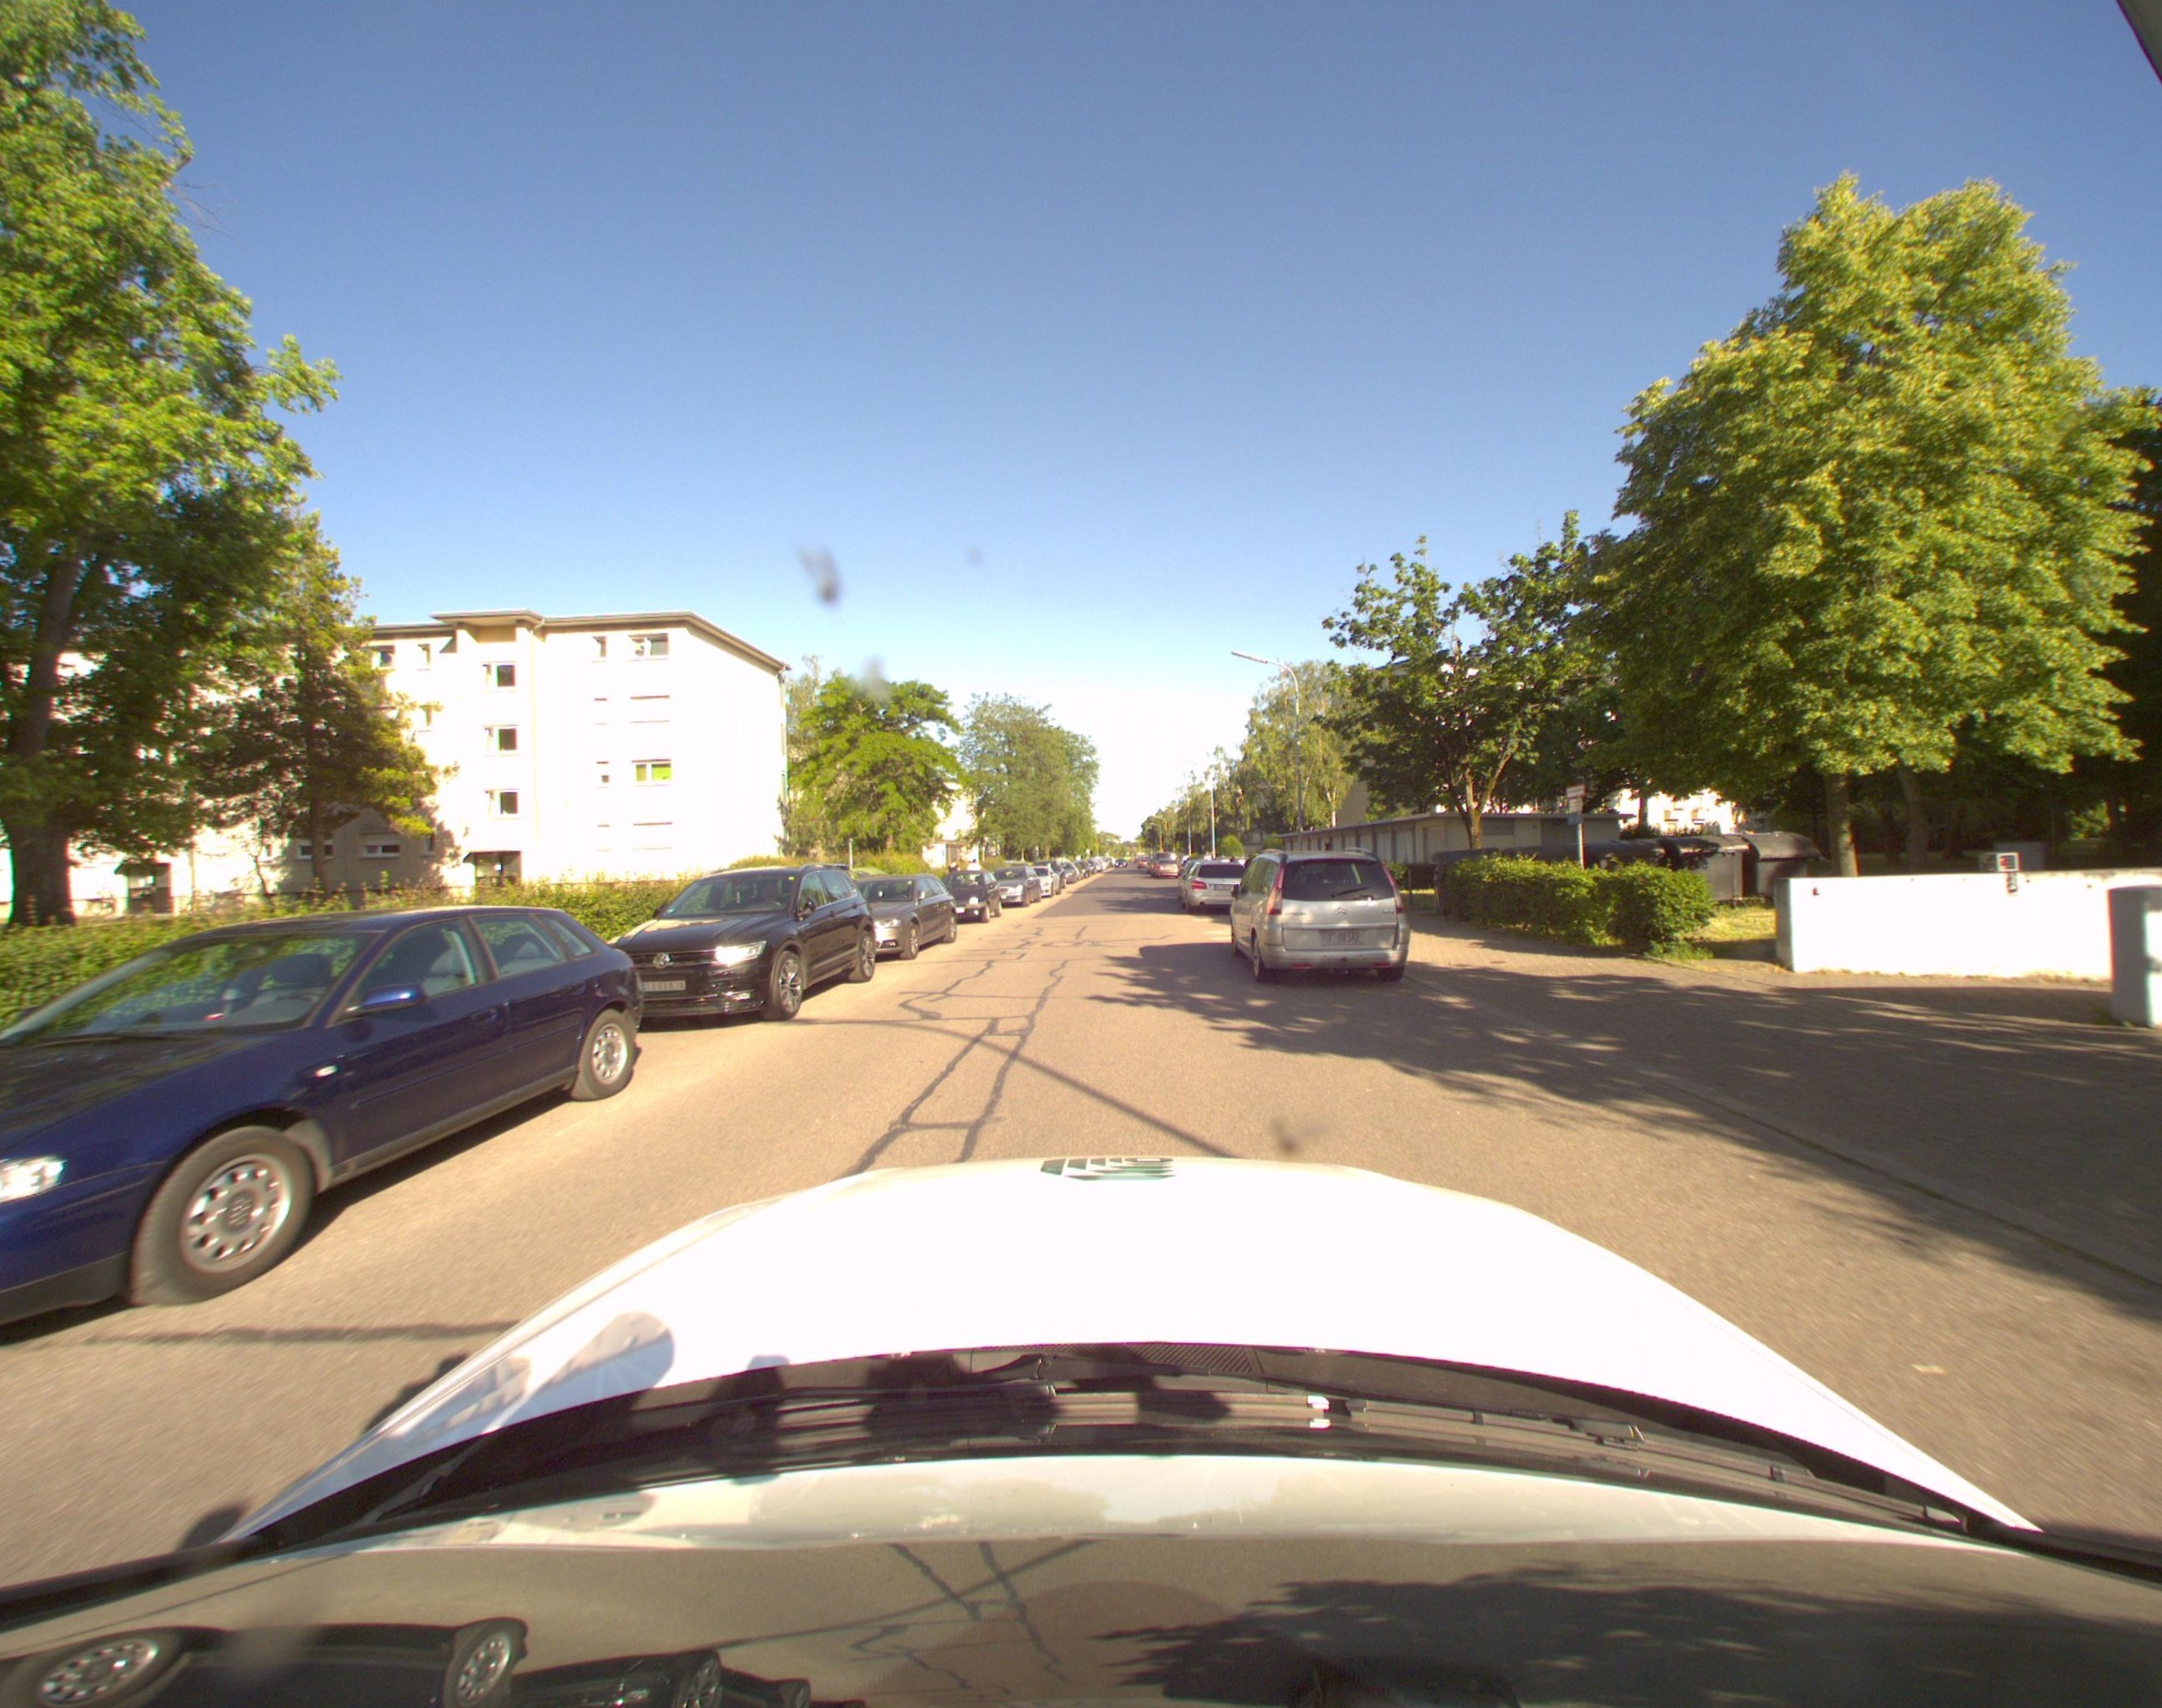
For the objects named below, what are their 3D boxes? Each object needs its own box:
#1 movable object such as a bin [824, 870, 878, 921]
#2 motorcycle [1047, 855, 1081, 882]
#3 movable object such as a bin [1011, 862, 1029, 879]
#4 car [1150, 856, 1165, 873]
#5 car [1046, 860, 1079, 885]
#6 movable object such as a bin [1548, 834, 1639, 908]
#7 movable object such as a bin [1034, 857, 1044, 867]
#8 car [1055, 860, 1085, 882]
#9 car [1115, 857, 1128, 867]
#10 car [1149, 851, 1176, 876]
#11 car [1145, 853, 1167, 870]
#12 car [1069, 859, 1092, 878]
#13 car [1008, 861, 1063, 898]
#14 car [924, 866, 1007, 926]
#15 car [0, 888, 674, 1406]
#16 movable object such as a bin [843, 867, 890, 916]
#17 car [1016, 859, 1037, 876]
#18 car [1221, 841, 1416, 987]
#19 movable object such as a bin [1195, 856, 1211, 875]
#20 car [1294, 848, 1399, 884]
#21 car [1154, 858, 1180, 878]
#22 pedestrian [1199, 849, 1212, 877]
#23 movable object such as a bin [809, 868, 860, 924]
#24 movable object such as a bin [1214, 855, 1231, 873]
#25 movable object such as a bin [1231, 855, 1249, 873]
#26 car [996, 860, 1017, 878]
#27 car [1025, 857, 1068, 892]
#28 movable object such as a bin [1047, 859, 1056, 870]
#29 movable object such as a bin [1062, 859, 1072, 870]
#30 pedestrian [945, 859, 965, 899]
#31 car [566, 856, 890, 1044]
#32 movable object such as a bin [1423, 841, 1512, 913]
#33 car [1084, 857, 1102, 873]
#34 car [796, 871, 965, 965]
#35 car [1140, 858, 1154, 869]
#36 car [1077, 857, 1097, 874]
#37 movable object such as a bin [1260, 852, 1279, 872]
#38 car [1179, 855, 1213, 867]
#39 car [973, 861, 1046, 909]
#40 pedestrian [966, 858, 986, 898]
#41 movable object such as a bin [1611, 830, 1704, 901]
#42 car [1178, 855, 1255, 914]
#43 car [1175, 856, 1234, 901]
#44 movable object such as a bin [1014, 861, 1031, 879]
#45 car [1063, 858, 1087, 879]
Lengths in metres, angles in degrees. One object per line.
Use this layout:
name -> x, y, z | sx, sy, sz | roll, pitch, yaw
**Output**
movable object such as a bin -> -6.506, 1.155, 23.107 | 1.115, 1.366, 1.257 | 1, -1, 1
motorcycle -> -1.173, 0.997, 57.010 | 2.248, 1.727, 0.932 | -4, -1, 0
movable object such as a bin -> -4.786, 1.279, 64.024 | 1.172, 1.288, 1.344 | -1, 0, 4
car -> 7.990, 1.049, 85.004 | 1.482, 1.718, 2.585 | 0, 0, 3
car -> -1.152, 1.190, 53.532 | 1.747, 1.421, 4.273 | -4, -1, 3
movable object such as a bin -> 11.167, 0.364, 17.785 | 1.321, 1.537, 1.028 | -1, 0, -3
movable object such as a bin -> -5.718, 1.078, 111.045 | 1.172, 1.421, 1.464 | 1, 0, 5
car -> -0.805, 1.221, 60.673 | 1.746, 1.481, 3.964 | -4, -1, 5
car -> 6.526, 1.300, 131.351 | 1.902, 1.476, 4.574 | -2, 0, 3
car -> 6.490, 0.743, 65.180 | 1.845, 1.934, 4.708 | 0, 0, 3
car -> 7.117, 0.671, 77.580 | 1.726, 1.490, 4.502 | -3, 0, 1
car -> -0.007, 1.271, 71.844 | 1.747, 1.481, 4.540 | -4, -1, 2
car -> -1.954, 1.111, 36.380 | 1.746, 1.425, 4.216 | -4, -1, 5
car -> -3.187, 1.122, 23.154 | 1.642, 1.464, 3.498 | -3, 0, 2
car -> -4.050, 0.993, 4.316 | 1.633, 1.385, 4.170 | -3, 0, 0
movable object such as a bin -> -6.430, 1.109, 24.445 | 0.998, 1.415, 1.327 | 1, -1, 1
car -> -5.137, 1.279, 76.570 | 1.564, 1.525, 4.001 | -1, 0, 1
car -> 3.074, 0.694, 11.497 | 1.746, 1.627, 4.500 | -1, 0, 4
movable object such as a bin -> 9.490, 0.884, 63.232 | 1.019, 1.310, 1.392 | -5, -1, 13
car -> 11.975, 0.547, 36.970 | 4.168, 1.494, 1.818 | -1, 0, 0
car -> 6.244, 0.991, 59.338 | 1.792, 1.419, 4.642 | -1, 0, 5
pedestrian -> 8.663, 0.607, 56.482 | 0.700, 1.888, 0.873 | -4, -1, 4
movable object such as a bin -> -6.578, 1.103, 21.763 | 0.891, 1.415, 1.327 | 1, -1, 2
movable object such as a bin -> 10.799, 0.746, 62.262 | 1.217, 1.365, 1.135 | -2, -1, 6
movable object such as a bin -> 12.064, 0.756, 61.851 | 1.269, 1.365, 1.135 | -2, -1, 6
car -> -7.033, 1.440, 77.275 | 1.564, 1.641, 4.001 | -1, 0, 1
car -> -1.753, 1.042, 42.946 | 1.747, 1.635, 4.374 | -4, -1, 3
movable object such as a bin -> -4.148, 1.486, 114.595 | 1.129, 1.421, 1.362 | 1, 0, 5
movable object such as a bin -> -1.733, 1.352, 102.825 | 1.131, 1.382, 1.443 | 1, 0, 5
pedestrian -> -5.468, 1.080, 35.412 | 0.717, 1.679, 0.600 | -1, -1, 3
car -> -3.828, 0.909, 9.822 | 1.747, 1.668, 4.393 | -3, 0, 2
movable object such as a bin -> 8.353, 0.490, 17.657 | 1.321, 1.428, 1.069 | -4, 0, -3
car -> 1.426, 1.263, 94.424 | 1.895, 1.640, 4.352 | -3, 0, 3
car -> -3.514, 1.063, 15.235 | 1.747, 1.385, 4.677 | -3, -1, 2
car -> 9.146, 1.263, 113.164 | 1.674, 1.513, 4.105 | 0, 0, 1
car -> 0.653, 1.174, 83.948 | 1.746, 1.606, 3.973 | -4, -1, 4
movable object such as a bin -> 14.493, 0.600, 62.500 | 1.269, 1.465, 1.135 | -2, 3, 6
car -> 15.501, 0.946, 110.018 | 4.396, 1.513, 1.830 | -3, 0, 3
car -> -2.555, 1.096, 30.362 | 1.746, 1.490, 4.907 | -4, -1, 5
pedestrian -> -4.508, 1.036, 34.948 | 0.717, 1.679, 0.617 | -1, -1, 3
movable object such as a bin -> 12.689, 0.247, 17.965 | 1.319, 1.481, 1.028 | -1, 0, -3
car -> 3.876, 0.819, 23.945 | 1.822, 1.546, 4.646 | -1, 0, 4
car -> 4.337, 0.826, 29.137 | 1.796, 1.494, 3.800 | -1, 0, 4
movable object such as a bin -> -4.710, 1.295, 65.451 | 1.172, 1.408, 1.344 | -1, 0, 4
car -> -0.456, 1.183, 66.778 | 1.747, 1.574, 3.722 | -4, -1, 2
